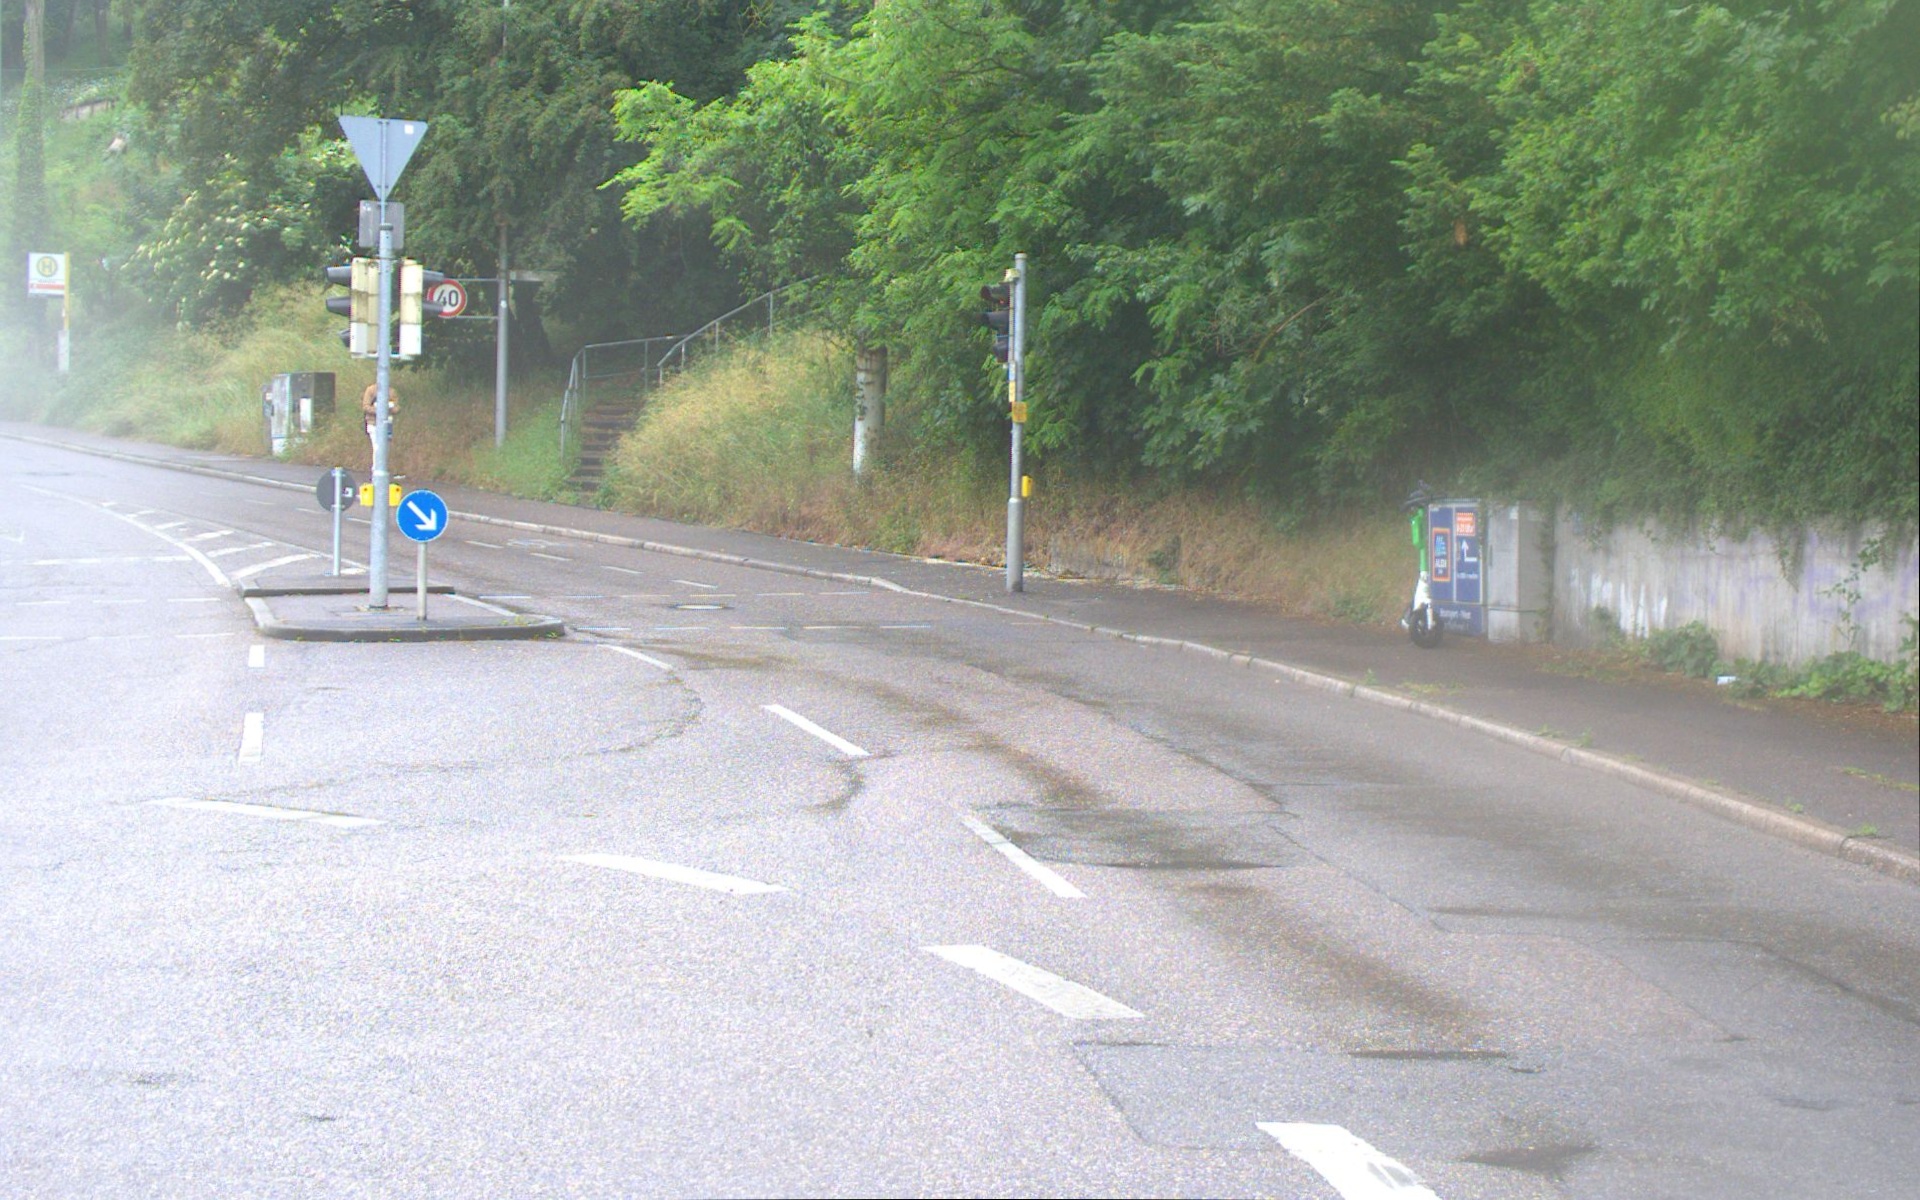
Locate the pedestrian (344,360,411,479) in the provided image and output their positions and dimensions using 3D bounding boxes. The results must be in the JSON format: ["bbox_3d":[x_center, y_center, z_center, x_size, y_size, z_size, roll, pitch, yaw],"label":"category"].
[{"bbox_3d":[-8.744,-2.704,51.587,0.880,1.730,0.866,0,0,-17],"label":"pedestrian"}]

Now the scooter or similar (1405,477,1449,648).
[{"bbox_3d":[3.595,-0.296,26.490,0.322,1.275,0.751,0,4,7],"label":"scooter or similar"}]
